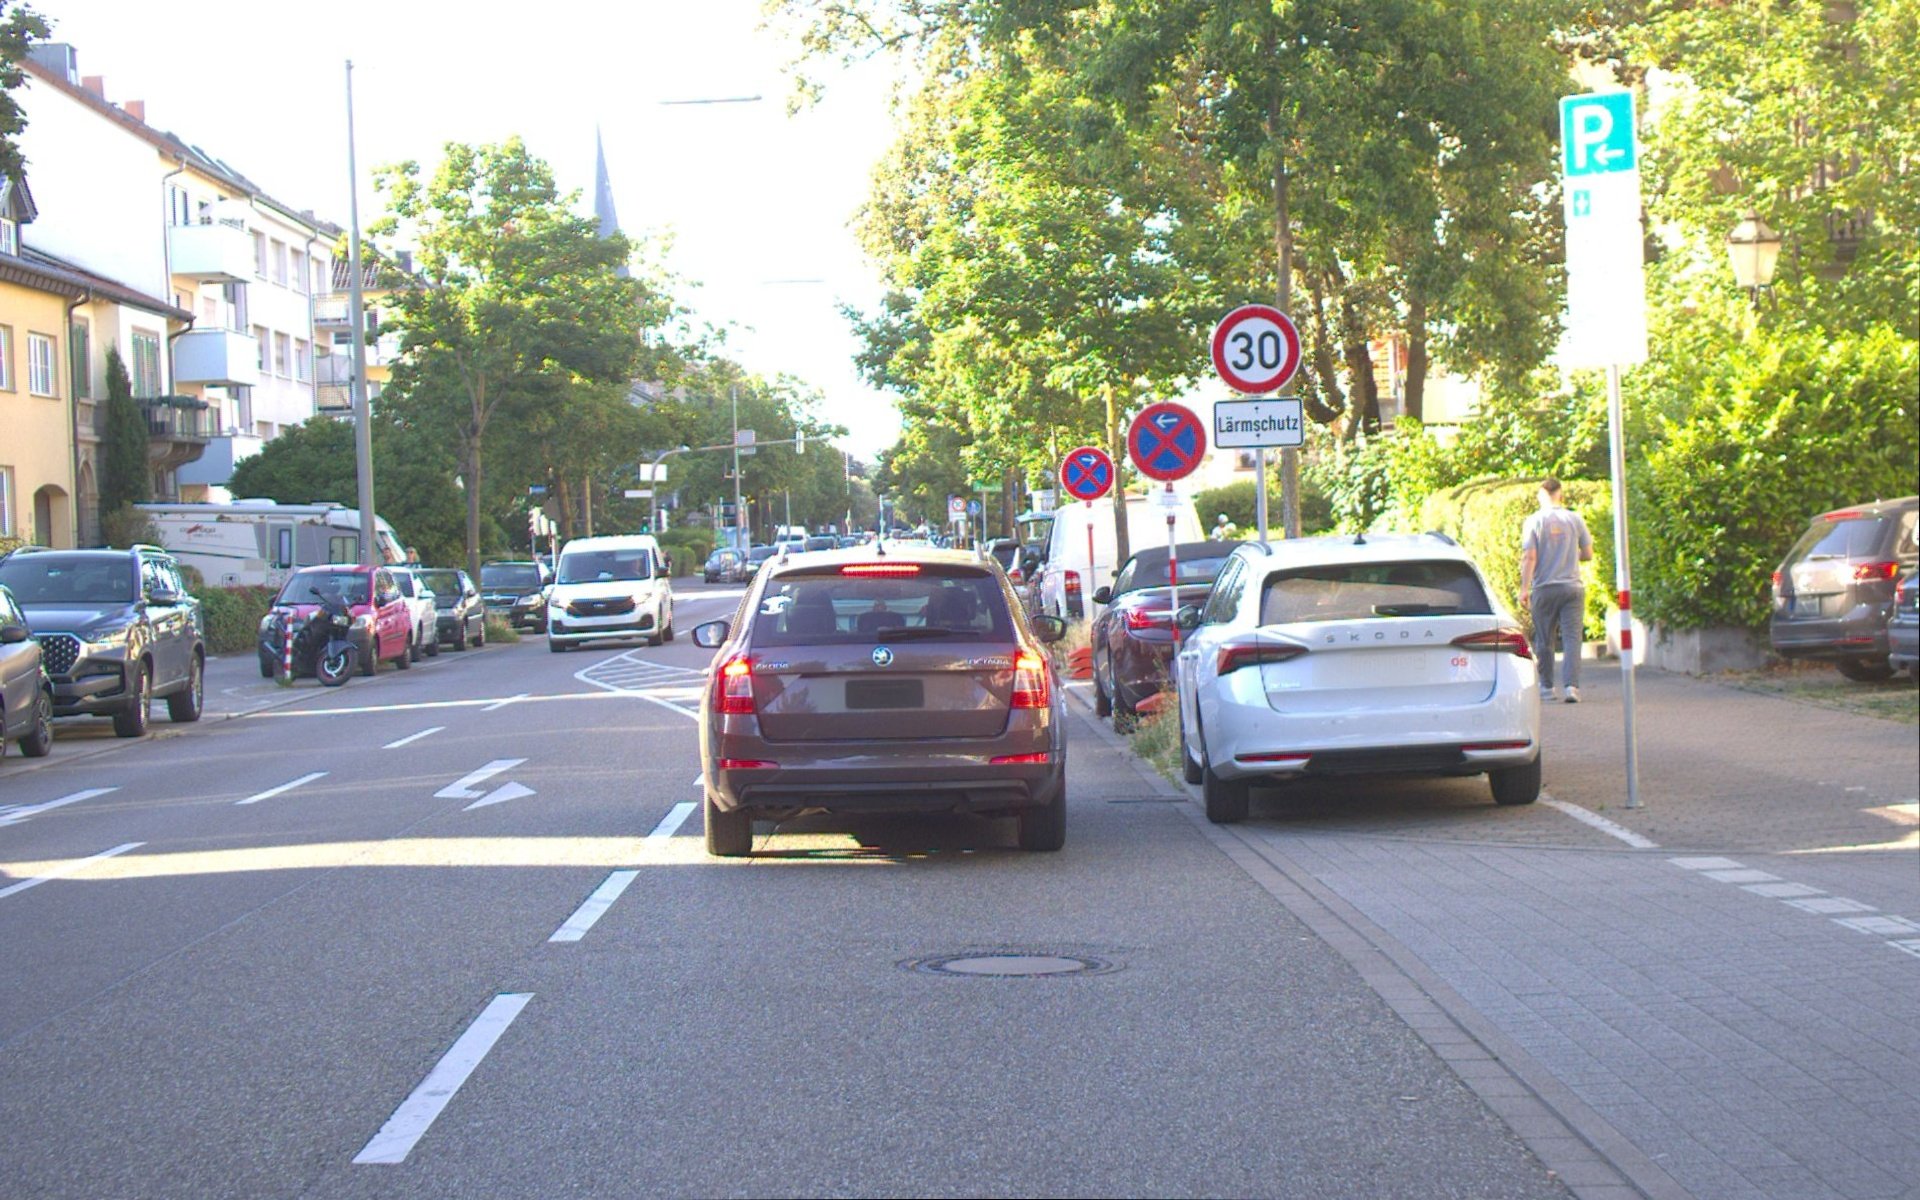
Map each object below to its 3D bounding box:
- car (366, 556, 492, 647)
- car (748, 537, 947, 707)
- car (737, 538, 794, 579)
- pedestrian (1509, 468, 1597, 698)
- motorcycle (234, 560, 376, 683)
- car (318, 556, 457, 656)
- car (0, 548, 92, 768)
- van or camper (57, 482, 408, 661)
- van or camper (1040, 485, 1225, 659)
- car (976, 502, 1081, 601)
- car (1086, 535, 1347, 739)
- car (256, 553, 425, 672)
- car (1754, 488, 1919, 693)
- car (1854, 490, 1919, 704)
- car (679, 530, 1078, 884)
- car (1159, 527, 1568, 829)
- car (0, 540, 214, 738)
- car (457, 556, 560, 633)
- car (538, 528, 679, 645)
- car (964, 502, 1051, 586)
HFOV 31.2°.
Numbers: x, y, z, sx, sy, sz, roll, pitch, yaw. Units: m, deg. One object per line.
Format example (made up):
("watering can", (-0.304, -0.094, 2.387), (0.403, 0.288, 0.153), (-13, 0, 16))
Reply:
("car", (-9.097, 0.004, 59.138), (1.664, 1.427, 3.275), (-2, 2, -1))
("car", (-1.159, 0.163, 33.836), (1.729, 1.488, 3.951), (-2, 2, -4))
("car", (-7.543, -1.621, 133.896), (1.993, 1.503, 4.000), (-2, 1, -1))
("pedestrian", (4.710, -0.146, 27.332), (0.535, 1.788, 0.687), (-2, 1, 1))
("motorcycle", (-8.387, 0.266, 43.991), (0.764, 1.506, 2.029), (-3, 2, -43))
("car", (-9.057, 0.074, 54.594), (1.664, 1.427, 3.275), (-2, 2, -1))
("car", (-8.652, 0.483, 28.945), (1.750, 1.734, 3.591), (-2, 2, -1))
("van or camper", (-16.886, -0.689, 80.074), (7.639, 3.861, 2.000), (-2, 1, -2))
("van or camper", (2.099, -0.392, 42.983), (1.993, 2.006, 4.000), (-2, 2, -1))
("car", (1.300, -0.960, 66.271), (1.729, 1.809, 3.951), (-2, 2, -2))
("car", (1.975, 0.238, 27.519), (1.821, 1.408, 4.111), (-2, 2, 1))
("car", (-8.765, 0.143, 48.905), (1.664, 1.506, 4.179), (-2, 2, -1))
("car", (8.346, -0.153, 27.197), (3.799, 1.520, 1.512), (-3, 1, -22))
("car", (8.584, -0.103, 25.076), (3.799, 1.520, 1.512), (-3, 1, -22))
("car", (-0.372, 0.439, 17.295), (1.729, 1.488, 3.951), (-2, 2, 0))
("car", (2.118, 0.344, 19.090), (1.821, 1.408, 4.111), (-2, 2, 1))
("car", (-8.449, 0.336, 33.611), (1.507, 1.751, 3.694), (-2, 2, -1))
("car", (-9.205, -0.132, 70.305), (1.664, 1.427, 3.275), (-2, 2, -1))
("car", (-5.703, -0.260, 56.206), (1.876, 1.751, 4.179), (-2, 2, -1))
("car", (1.068, -1.299, 78.760), (1.729, 1.809, 3.951), (-2, 2, -2))
